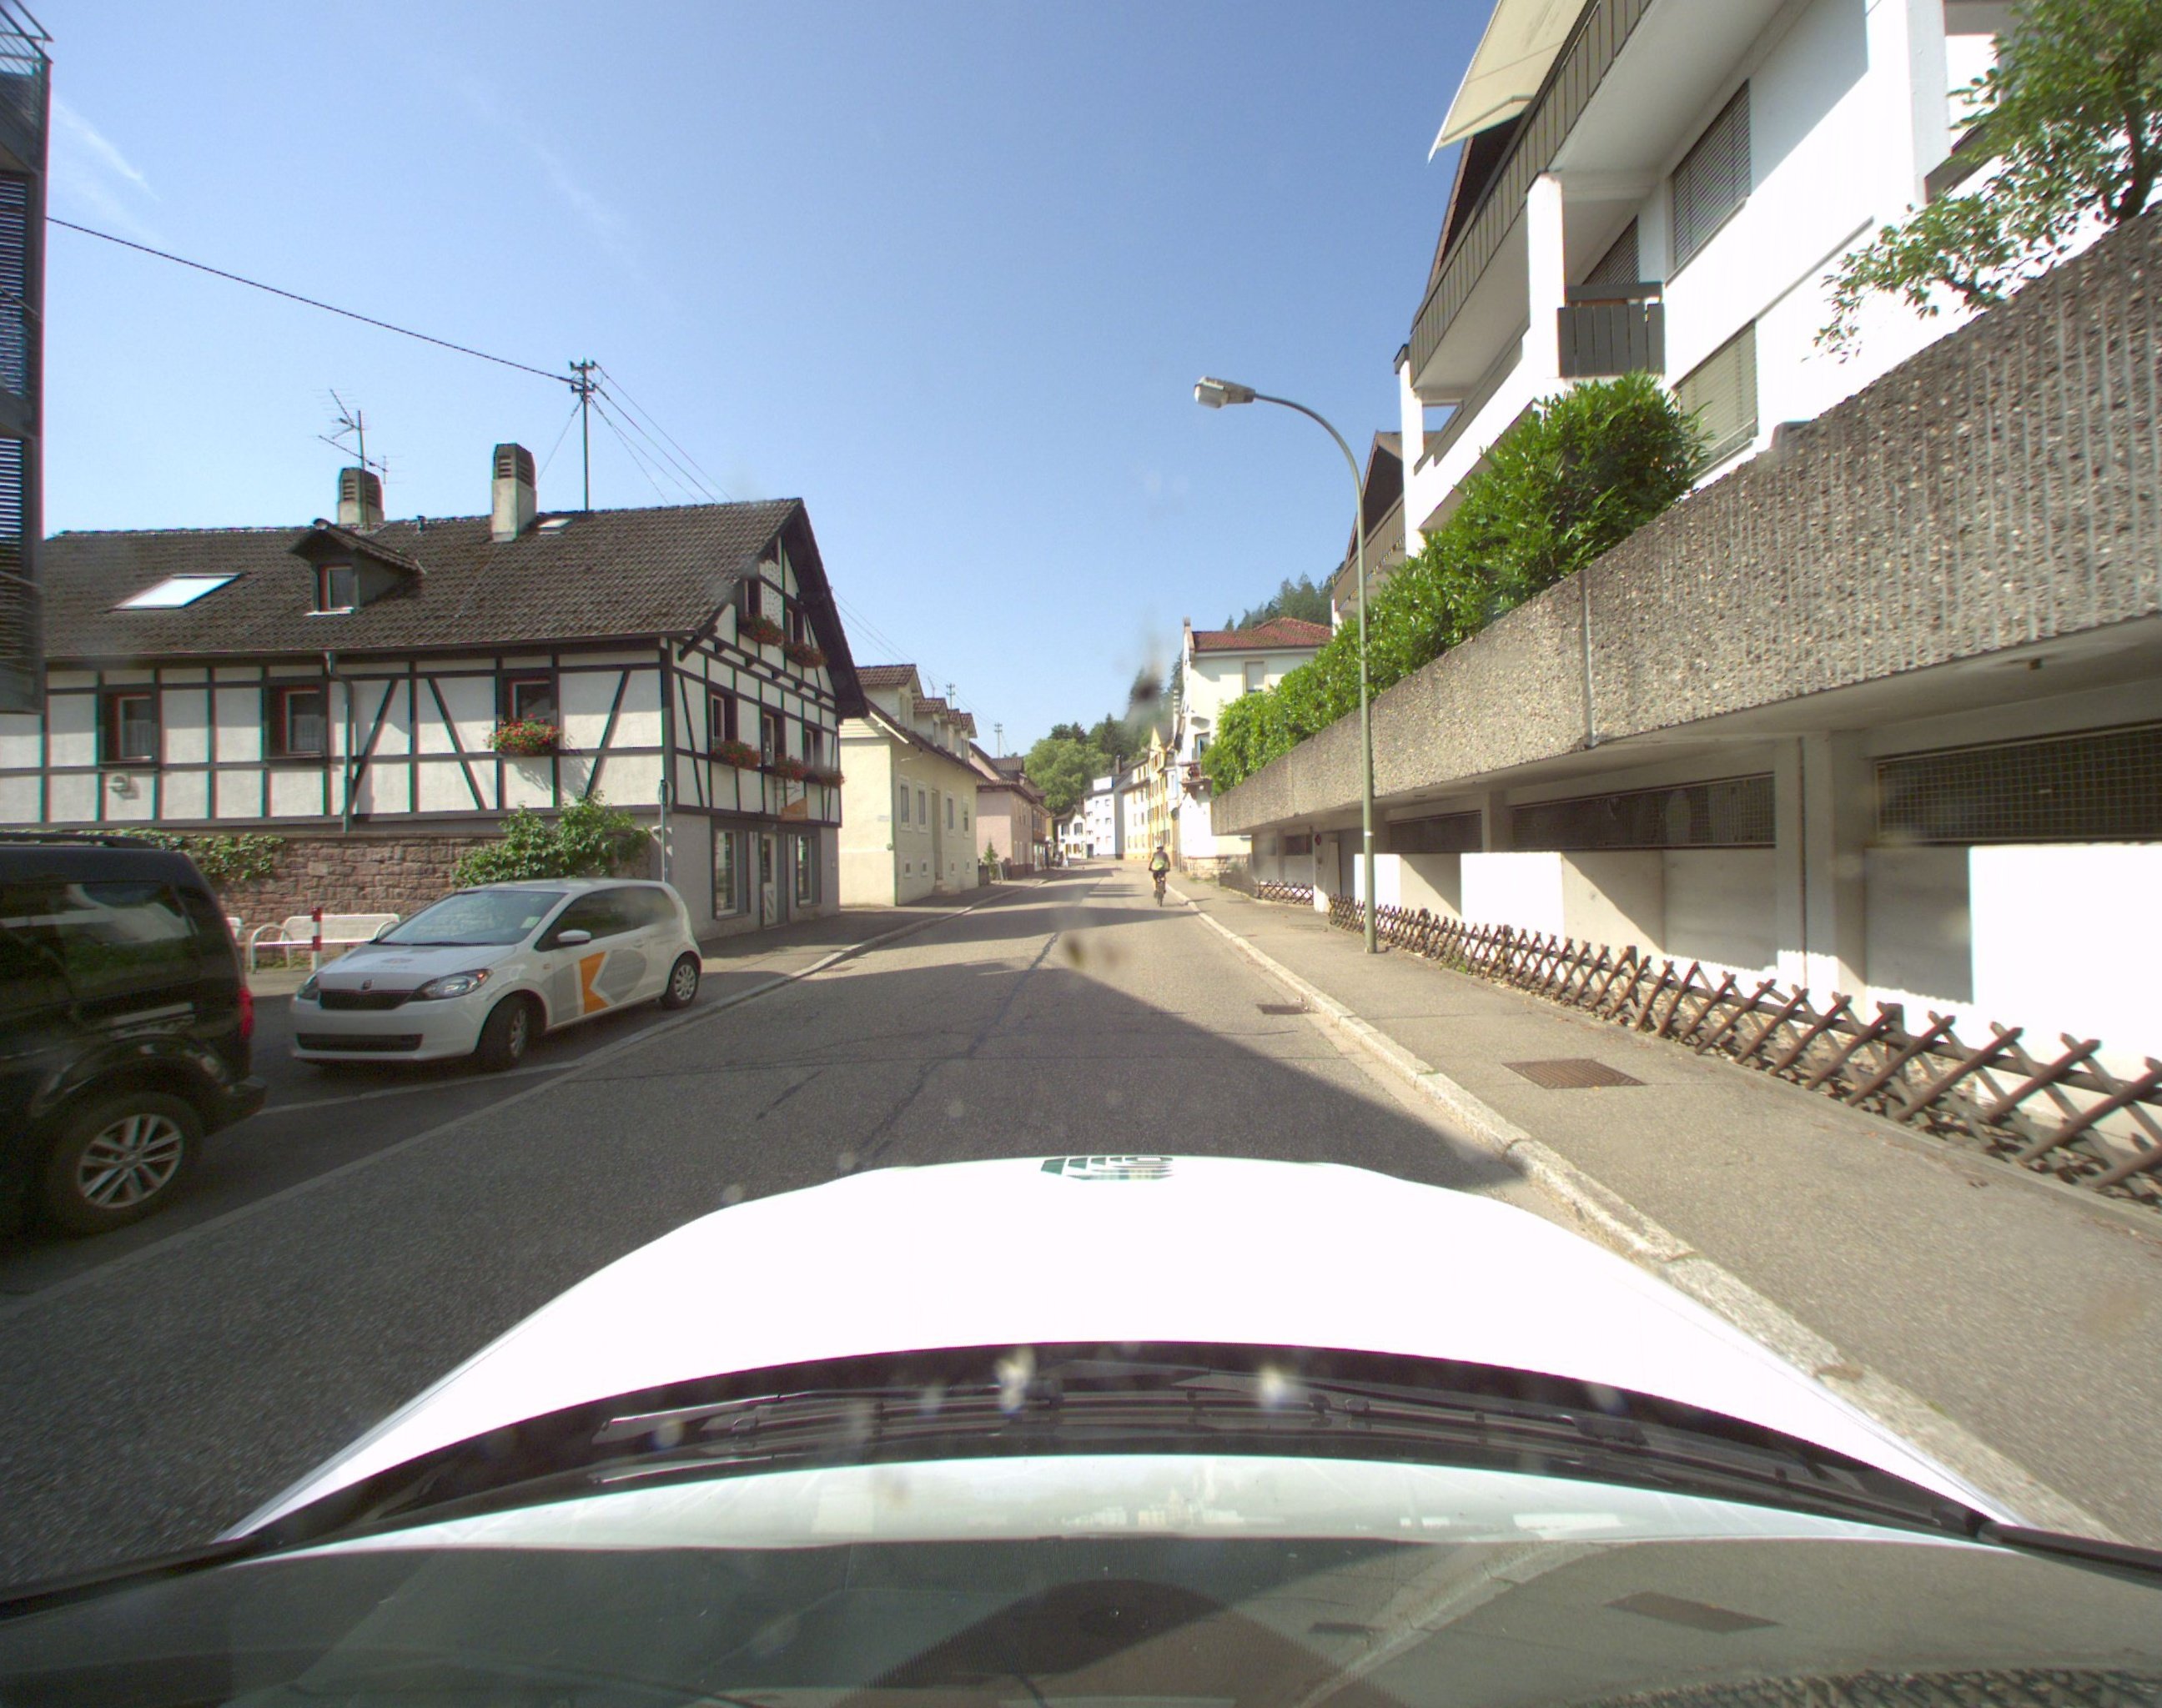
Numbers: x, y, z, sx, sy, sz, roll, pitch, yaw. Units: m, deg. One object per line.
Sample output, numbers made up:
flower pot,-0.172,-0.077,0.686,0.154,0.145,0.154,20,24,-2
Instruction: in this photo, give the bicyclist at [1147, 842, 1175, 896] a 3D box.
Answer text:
bicyclist,2.298,0.430,23.509,0.683,1.531,0.716,-2,0,1

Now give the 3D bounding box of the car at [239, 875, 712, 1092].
car,-5.241,0.989,7.732,1.659,1.432,3.572,0,1,3

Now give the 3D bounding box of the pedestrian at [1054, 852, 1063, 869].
pedestrian,-2.203,0.634,78.450,0.732,1.564,0.825,2,0,3

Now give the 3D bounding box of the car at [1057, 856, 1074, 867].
car,-2.303,1.112,118.600,1.600,1.464,3.640,-4,0,-15

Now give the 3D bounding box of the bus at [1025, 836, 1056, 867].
bus,-4.347,-0.302,89.172,2.811,3.228,9.035,0,0,0

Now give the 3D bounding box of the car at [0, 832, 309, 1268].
car,-5.336,0.832,2.544,1.714,1.796,4.269,-2,0,0

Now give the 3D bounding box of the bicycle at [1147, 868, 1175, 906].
bicycle,2.296,0.933,23.608,0.696,1.035,1.472,-1,0,2

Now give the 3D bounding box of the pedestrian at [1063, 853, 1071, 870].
pedestrian,-1.371,0.717,78.279,0.636,1.626,0.778,2,0,3
